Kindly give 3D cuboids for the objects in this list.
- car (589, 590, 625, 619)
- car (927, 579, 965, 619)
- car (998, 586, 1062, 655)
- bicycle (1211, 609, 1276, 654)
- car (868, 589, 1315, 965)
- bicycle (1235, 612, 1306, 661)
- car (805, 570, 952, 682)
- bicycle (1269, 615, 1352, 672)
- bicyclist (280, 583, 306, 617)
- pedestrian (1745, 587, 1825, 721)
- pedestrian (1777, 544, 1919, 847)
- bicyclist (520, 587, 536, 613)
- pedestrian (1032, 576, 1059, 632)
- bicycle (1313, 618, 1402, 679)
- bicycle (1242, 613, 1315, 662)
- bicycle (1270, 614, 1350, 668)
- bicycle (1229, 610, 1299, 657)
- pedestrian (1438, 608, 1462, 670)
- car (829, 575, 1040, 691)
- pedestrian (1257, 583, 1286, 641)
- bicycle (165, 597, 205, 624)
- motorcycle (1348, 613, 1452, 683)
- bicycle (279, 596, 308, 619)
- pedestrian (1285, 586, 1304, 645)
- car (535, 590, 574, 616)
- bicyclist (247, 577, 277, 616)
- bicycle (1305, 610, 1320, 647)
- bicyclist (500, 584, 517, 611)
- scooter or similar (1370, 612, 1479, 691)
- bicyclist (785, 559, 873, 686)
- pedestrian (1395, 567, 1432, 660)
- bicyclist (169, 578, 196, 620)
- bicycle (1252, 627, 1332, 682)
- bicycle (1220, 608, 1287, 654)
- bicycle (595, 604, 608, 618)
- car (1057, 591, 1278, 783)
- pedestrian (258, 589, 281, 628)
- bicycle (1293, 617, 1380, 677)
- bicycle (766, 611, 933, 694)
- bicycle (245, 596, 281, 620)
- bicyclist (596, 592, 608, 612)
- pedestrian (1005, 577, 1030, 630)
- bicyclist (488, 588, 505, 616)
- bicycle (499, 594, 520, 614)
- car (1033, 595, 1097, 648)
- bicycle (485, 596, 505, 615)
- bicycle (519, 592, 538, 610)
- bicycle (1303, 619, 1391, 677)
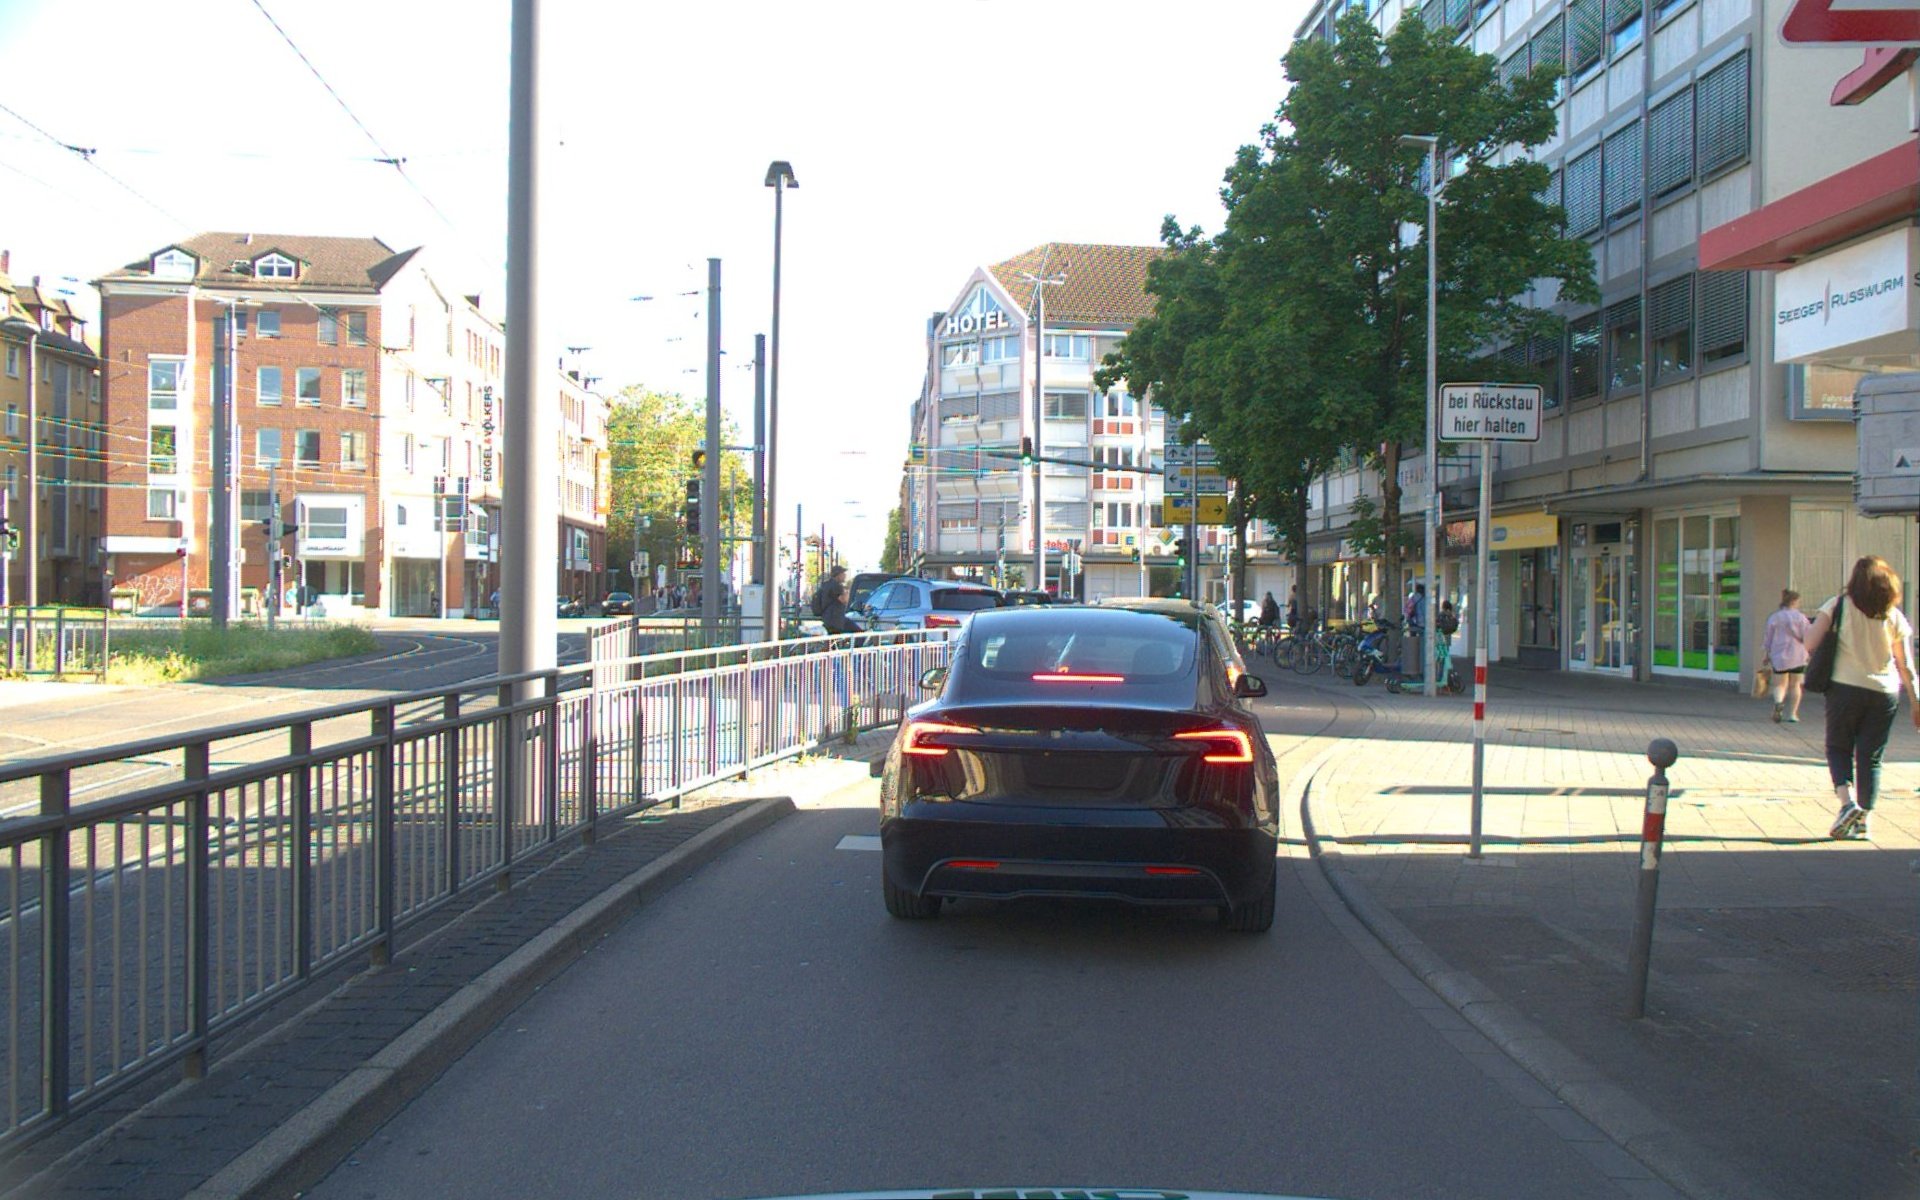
[{"bbox_3d":[-22.542,0.276,105.649,1.663,1.762,3.704,1,0,-3],"label":"car"},{"bbox_3d":[-0.647,-0.023,76.586,1.685,1.781,3.753,1,0,-1],"label":"car"},{"bbox_3d":[1.910,0.562,46.233,1.565,1.809,3.980,1,0,-1],"label":"car"},{"bbox_3d":[7.293,0.801,42.578,1.616,1.118,0.350,1,-1,1],"label":"bicycle"},{"bbox_3d":[0.670,0.723,8.717,1.791,1.481,4.002,1,0,4],"label":"car"},{"bbox_3d":[7.400,0.866,39.426,1.616,1.118,0.350,1,-1,1],"label":"bicycle"},{"bbox_3d":[-1.671,0.485,32.478,1.962,2.049,3.981,0,0,-17],"label":"car"},{"bbox_3d":[7.096,0.887,33.493,1.620,1.118,0.349,1,-1,-11],"label":"bicycle"},{"bbox_3d":[-29.713,-0.015,73.664,0.689,1.496,0.973,0,0,7],"label":"bicyclist"},{"bbox_3d":[10.757,0.694,21.590,0.871,1.696,0.808,1,-1,23],"label":"pedestrian"},{"bbox_3d":[5.645,0.560,10.321,0.895,1.783,1.038,0,0,22],"label":"pedestrian"},{"bbox_3d":[-26.479,-0.007,101.296,0.767,1.590,0.746,0,0,1],"label":"bicyclist"},{"bbox_3d":[3.178,0.160,61.242,0.902,2.049,0.972,1,-1,-1],"label":"pedestrian"},{"bbox_3d":[7.480,0.918,31.126,1.620,1.118,0.349,1,-1,-11],"label":"bicycle"},{"bbox_3d":[7.384,0.865,38.399,1.616,1.118,0.350,1,-1,1],"label":"bicycle"},{"bbox_3d":[7.500,0.871,35.448,1.616,1.118,0.350,1,-1,1],"label":"bicycle"},{"bbox_3d":[7.428,0.820,40.440,1.616,1.118,0.350,1,-1,1],"label":"bicycle"},{"bbox_3d":[10.878,0.861,36.740,0.381,1.367,0.513,1,-1,1],"label":"pedestrian"},{"bbox_3d":[-0.505,0.488,26.481,1.859,1.691,4.125,1,0,-25],"label":"car"},{"bbox_3d":[9.266,0.356,49.143,0.685,1.691,0.777,1,-1,-1],"label":"pedestrian"},{"bbox_3d":[-28.336,0.385,60.508,0.437,0.988,2.246,1,0,-1],"label":"bicycle"},{"bbox_3d":[7.809,0.854,29.368,1.673,1.194,0.541,1,-1,-3],"label":"motorcycle"},{"bbox_3d":[-29.684,0.331,73.669,0.396,0.998,1.695,1,0,7],"label":"bicycle"},{"bbox_3d":[9.970,0.460,49.355,0.515,1.740,0.404,1,-1,7],"label":"pedestrian"},{"bbox_3d":[-24.708,0.186,100.867,1.677,1.553,4.031,1,0,-5],"label":"car"},{"bbox_3d":[-28.402,-0.142,67.301,0.880,1.529,0.696,1,-1,-1],"label":"bicyclist"},{"bbox_3d":[10.411,0.834,48.894,0.325,1.052,1.257,1,0,8],"label":"bicycle"},{"bbox_3d":[-26.690,-0.169,97.809,0.767,1.590,0.746,0,0,1],"label":"bicyclist"},{"bbox_3d":[7.663,0.839,27.292,1.610,1.236,0.644,1,-1,30],"label":"scooter or similar"},{"bbox_3d":[-1.762,0.301,22.190,0.753,1.657,0.964,1,-1,-39],"label":"bicyclist"},{"bbox_3d":[10.085,0.301,36.782,0.648,2.049,0.579,1,-1,1],"label":"pedestrian"},{"bbox_3d":[-28.334,-0.035,60.262,0.620,1.529,0.696,1,-1,-1],"label":"bicyclist"},{"bbox_3d":[6.894,1.132,34.347,1.620,1.118,0.349,1,-1,-11],"label":"bicycle"},{"bbox_3d":[7.363,0.776,41.485,1.616,1.118,0.350,0,0,1],"label":"bicycle"},{"bbox_3d":[-29.005,0.900,133.922,0.518,1.107,2.225,1,0,1],"label":"bicycle"},{"bbox_3d":[1.830,0.675,15.056,1.714,1.480,4.003,1,0,6],"label":"car"},{"bbox_3d":[-32.858,0.412,78.719,0.767,1.852,0.746,1,-1,1],"label":"pedestrian"},{"bbox_3d":[7.279,0.909,31.968,1.620,1.118,0.349,1,-1,-11],"label":"bicycle"},{"bbox_3d":[-1.472,0.696,22.432,2.313,1.072,0.622,1,-1,-39],"label":"bicycle"},{"bbox_3d":[-28.380,0.323,67.368,0.513,0.988,2.246,1,0,-1],"label":"bicycle"},{"bbox_3d":[-28.986,0.153,134.017,0.767,1.590,0.746,1,-1,1],"label":"bicyclist"},{"bbox_3d":[2.233,0.126,64.847,0.902,2.049,0.972,1,-1,-1],"label":"pedestrian"},{"bbox_3d":[-26.391,0.119,94.222,0.768,1.590,0.746,1,-1,-1],"label":"bicyclist"},{"bbox_3d":[-26.648,0.248,97.816,0.518,1.107,2.284,4,-1,1],"label":"bicycle"},{"bbox_3d":[3.407,0.683,54.377,1.783,1.643,3.826,1,0,-1],"label":"car"},{"bbox_3d":[-26.409,0.315,93.873,0.526,1.107,2.224,1,0,-1],"label":"bicycle"},{"bbox_3d":[-26.556,0.078,101.760,0.518,1.107,2.284,1,0,1],"label":"bicycle"},{"bbox_3d":[7.383,0.912,31.546,1.620,1.079,0.349,1,-1,-11],"label":"bicycle"}]
